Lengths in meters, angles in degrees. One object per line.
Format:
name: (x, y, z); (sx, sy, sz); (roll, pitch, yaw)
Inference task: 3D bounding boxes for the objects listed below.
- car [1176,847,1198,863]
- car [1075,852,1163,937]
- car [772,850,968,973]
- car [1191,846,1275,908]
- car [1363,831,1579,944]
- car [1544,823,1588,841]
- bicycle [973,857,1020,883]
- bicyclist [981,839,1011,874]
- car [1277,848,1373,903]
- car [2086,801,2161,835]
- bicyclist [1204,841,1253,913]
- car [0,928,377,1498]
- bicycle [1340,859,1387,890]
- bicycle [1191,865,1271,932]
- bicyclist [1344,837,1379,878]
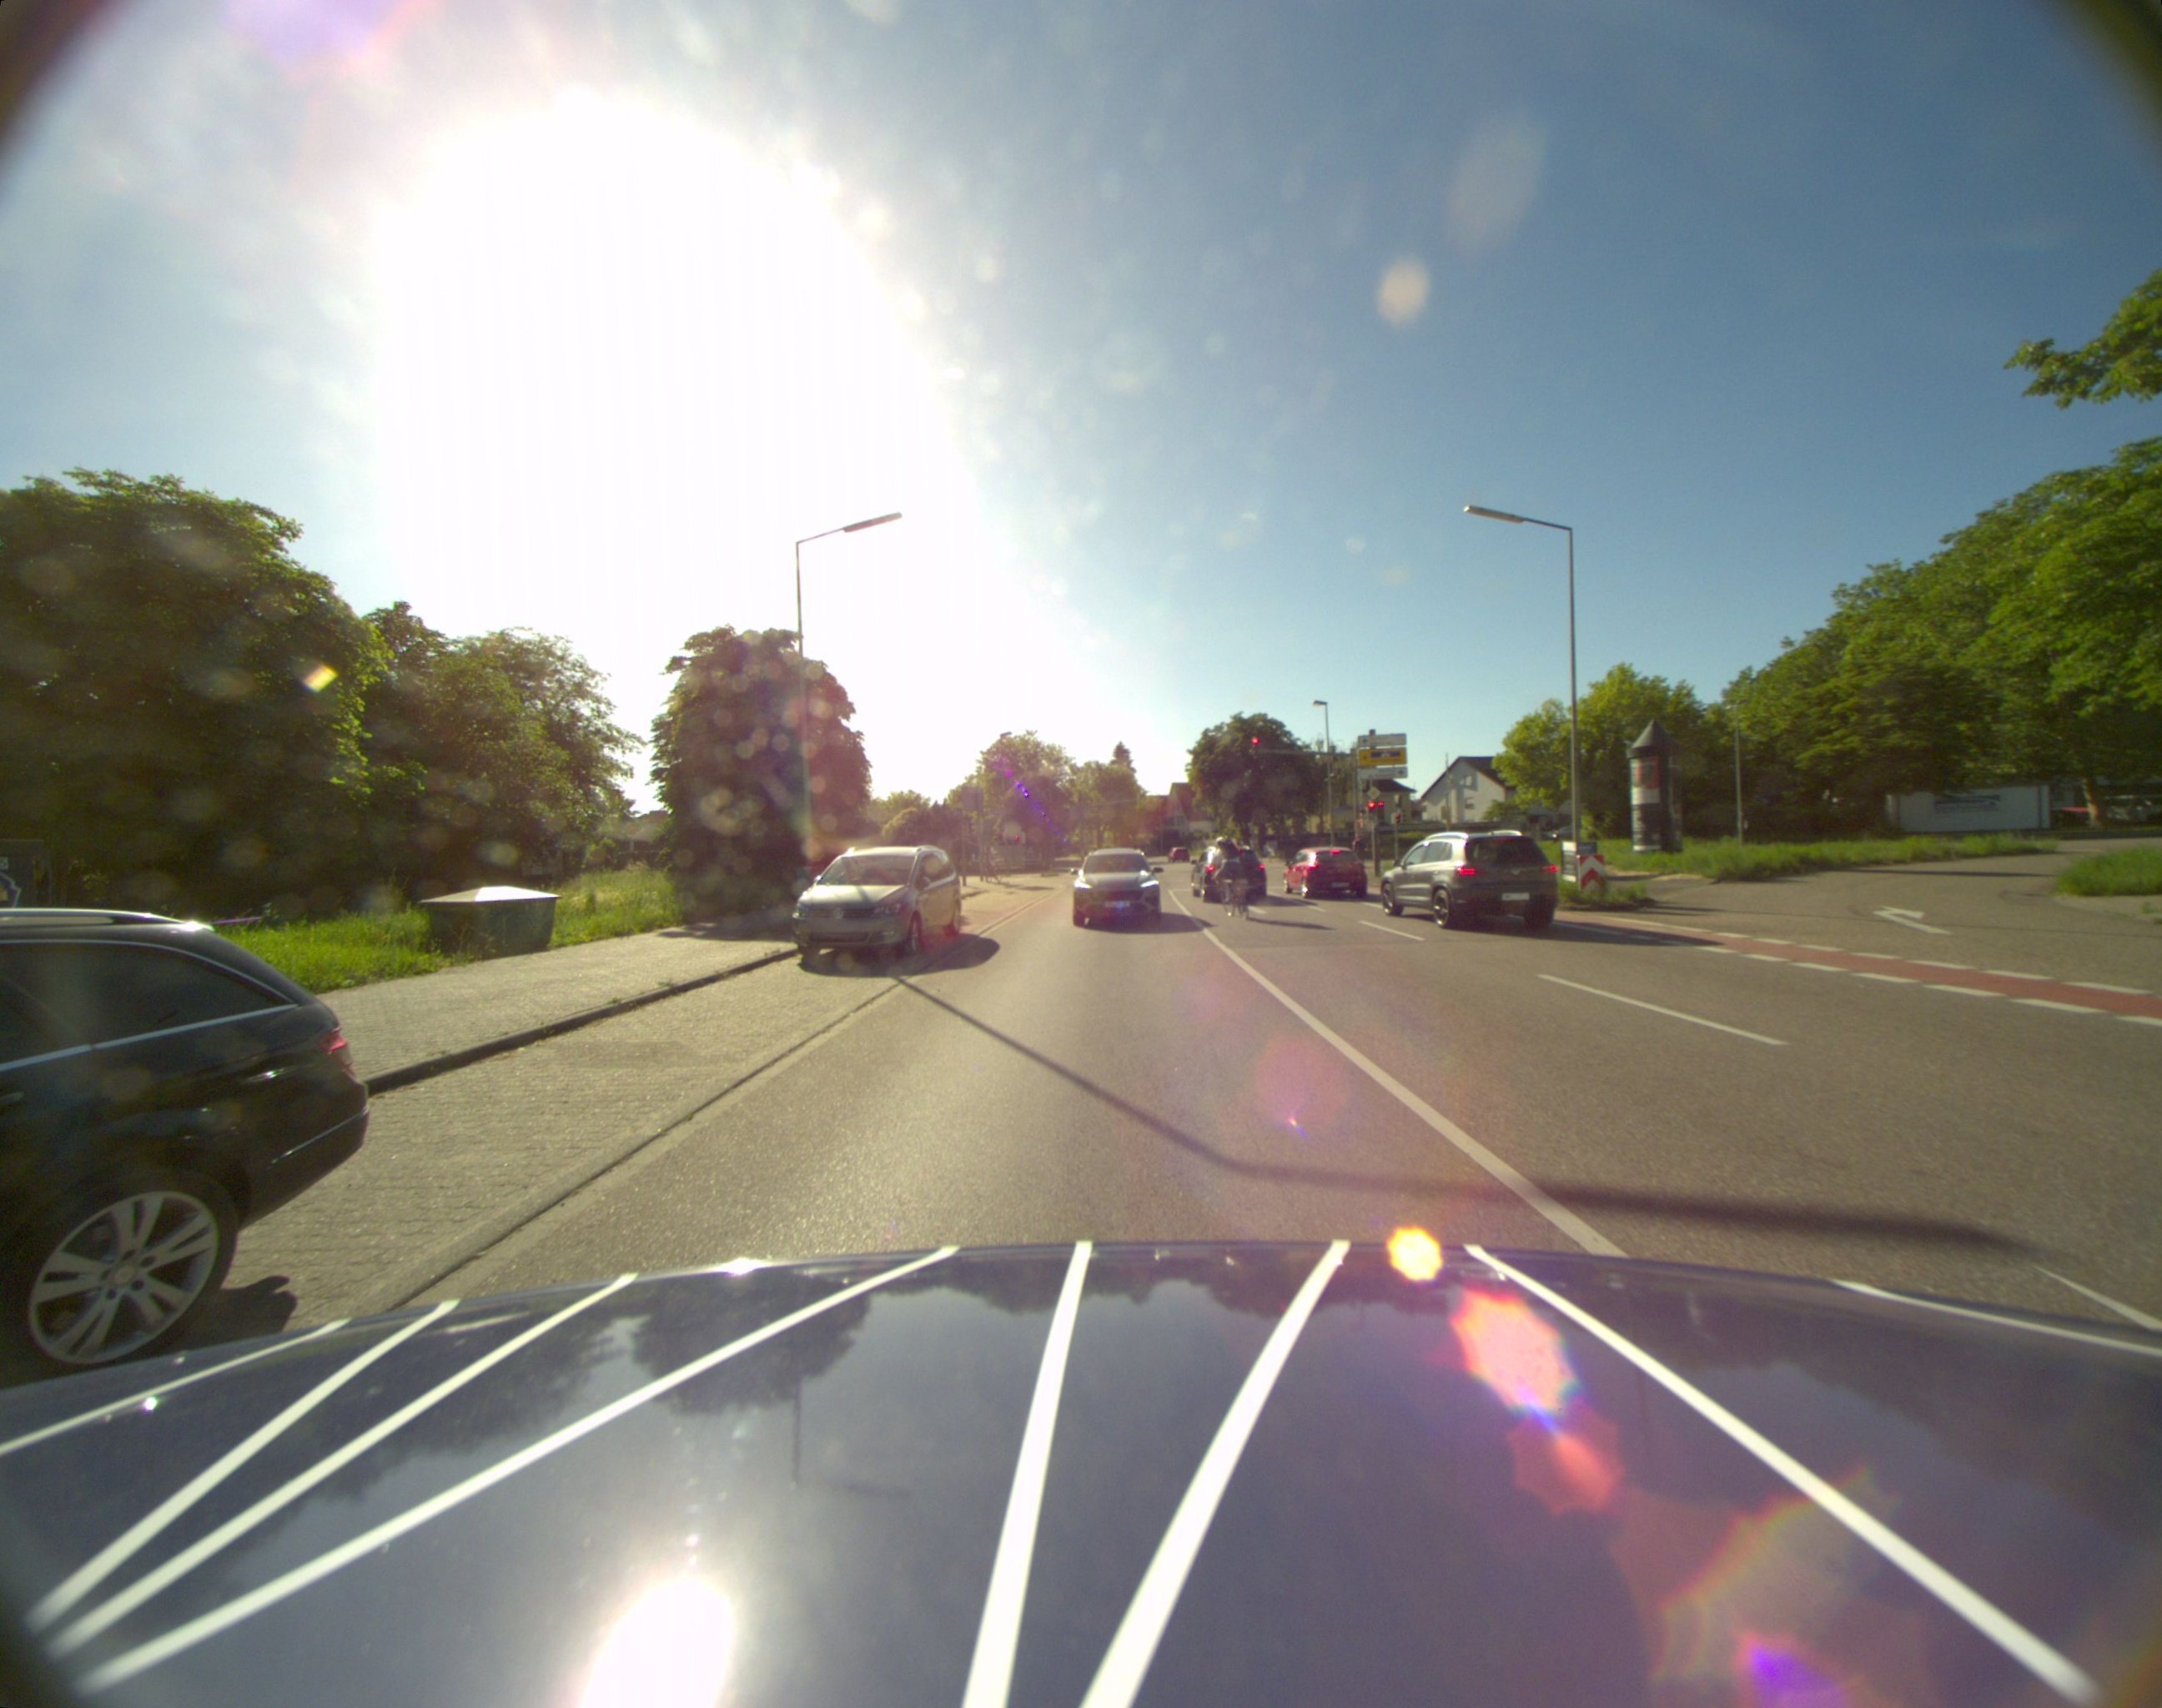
car: (10.519, 0.058, 75.296); (1.860, 1.461, 4.141); (-2, 1, 11)
car: (0.774, 0.787, 17.020); (1.715, 1.636, 4.054); (-1, 1, 1)
car: (-3.336, 0.811, 13.086); (1.877, 1.712, 4.612); (0, 1, 3)
car: (4.389, 0.604, 22.506); (1.917, 1.590, 4.001); (-2, 1, 4)
car: (7.045, 0.551, 14.322); (1.857, 1.725, 4.270); (-2, 0, 1)
car: (46.616, -2.143, 72.996); (4.006, 1.547, 1.996); (-3, 0, -32)
bicycle: (-4.141, 0.764, 37.439); (0.901, 1.119, 2.958); (-3, 0, 24)
bicyclist: (-4.183, 0.120, 37.415); (0.890, 1.683, 1.192); (-3, 0, 24)
car: (7.143, 0.574, 22.656); (1.788, 1.406, 3.891); (-2, 1, 3)
car: (66.742, -2.267, 48.003); (1.996, 2.002, 4.005); (-3, 0, 19)
bicyclist: (3.172, 0.479, 16.364); (0.774, 1.476, 0.825); (-3, 0, -5)
car: (-3.801, 1.039, 0.874); (1.813, 1.411, 4.424); (-2, 0, 0)
bicycle: (9.945, 0.710, 26.842); (0.939, 1.011, 2.197); (-3, 0, 4)
bicycle: (3.178, 0.895, 16.515); (0.795, 1.218, 3.211); (-2, 0, -5)
bicyclist: (9.919, 0.119, 26.882); (0.935, 1.393, 0.823); (-3, 0, 4)
